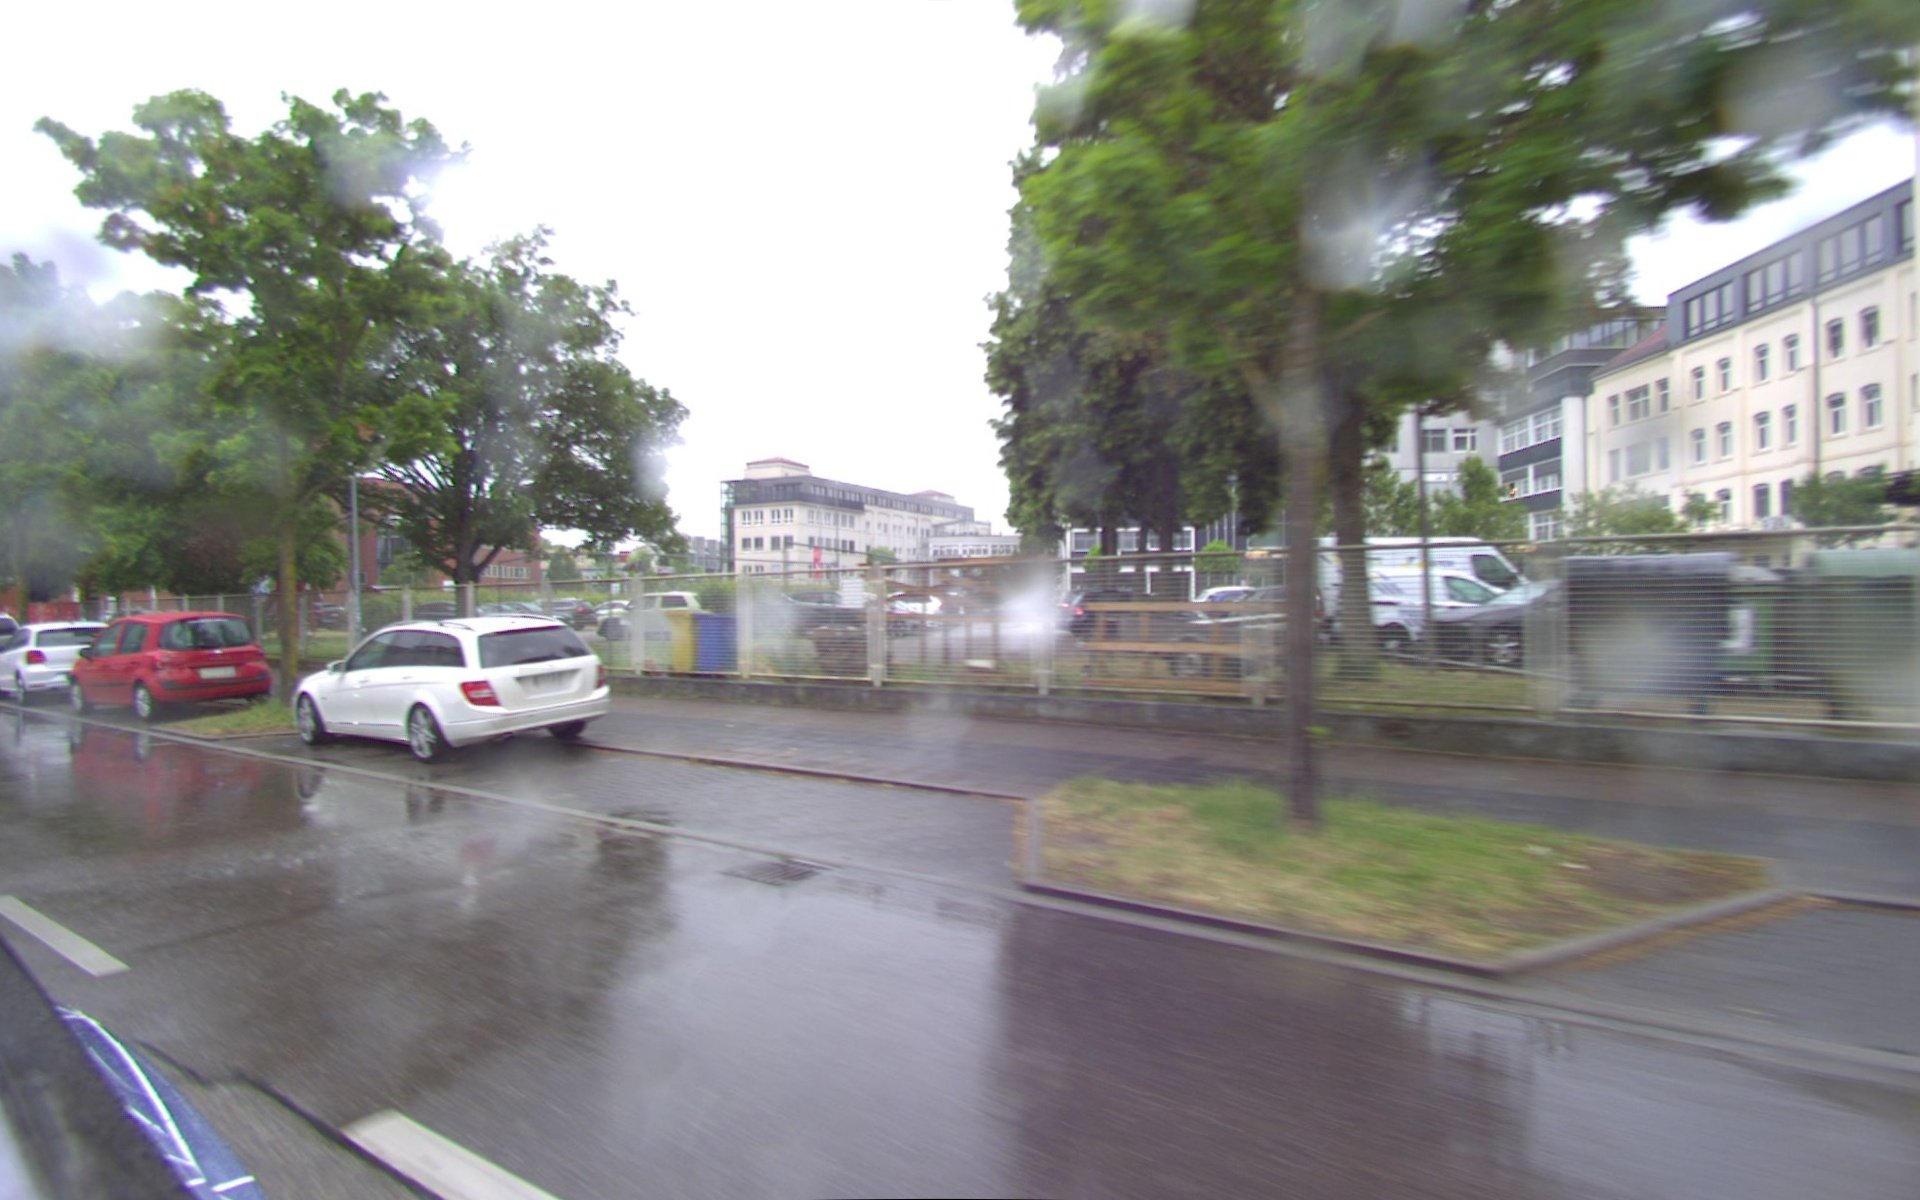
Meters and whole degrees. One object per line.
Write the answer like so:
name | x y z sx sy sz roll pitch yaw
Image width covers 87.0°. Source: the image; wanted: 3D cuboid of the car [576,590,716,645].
car | -10.285 0.568 33.358 3.948 1.683 2.065 -1 0 4

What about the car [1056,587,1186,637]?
car | 5.096 0.369 32.235 3.954 1.506 1.755 -1 0 9

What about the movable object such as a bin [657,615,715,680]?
movable object such as a bin | -4.340 0.741 16.020 0.712 0.993 0.541 -1 0 37

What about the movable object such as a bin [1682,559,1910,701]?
movable object such as a bin | 8.847 0.291 10.838 1.786 1.378 1.205 -1 1 37

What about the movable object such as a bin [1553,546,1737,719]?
movable object such as a bin | 6.112 0.249 9.038 1.260 1.378 1.478 -1 1 36

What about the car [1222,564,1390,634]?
car | 10.995 -0.034 32.467 4.663 2.099 2.146 -1 0 7

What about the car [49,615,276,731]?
car | -12.756 1.071 16.143 3.784 1.610 1.612 -1 1 31

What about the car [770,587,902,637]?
car | -4.019 0.375 33.049 3.954 1.506 1.755 -1 0 9

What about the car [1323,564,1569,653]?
car | 9.710 0.174 20.505 4.097 1.652 1.745 -1 0 7

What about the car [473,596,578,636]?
car | -19.403 0.711 45.317 3.948 1.683 1.769 -1 0 4

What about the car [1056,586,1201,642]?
car | 4.787 0.389 29.017 3.954 1.506 1.755 -1 0 9

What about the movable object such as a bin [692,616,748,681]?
movable object such as a bin | -3.671 0.732 15.485 0.637 0.956 0.533 -1 0 37

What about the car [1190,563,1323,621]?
car | 11.586 -0.300 39.888 4.663 2.133 2.146 -1 0 7

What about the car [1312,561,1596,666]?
car | 8.427 0.224 17.611 3.951 1.652 1.996 -1 0 6

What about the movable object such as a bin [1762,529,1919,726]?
movable object such as a bin | 7.587 0.190 8.037 1.828 1.452 1.545 -1 1 37

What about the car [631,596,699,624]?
car | -19.361 0.652 66.492 3.948 1.683 1.769 -1 0 4

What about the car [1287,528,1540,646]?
car | 9.994 -0.278 22.667 4.663 2.414 2.146 -1 0 7

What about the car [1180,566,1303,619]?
car | 11.831 -0.311 42.808 4.663 2.088 2.146 -1 0 7

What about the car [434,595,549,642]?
car | -19.831 0.764 42.940 3.948 1.896 1.998 -1 0 4

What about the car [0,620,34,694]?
car | -24.167 1.368 24.493 4.030 1.694 1.860 -1 1 37

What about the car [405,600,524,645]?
car | -19.968 0.896 40.888 3.948 1.683 1.769 -1 0 4

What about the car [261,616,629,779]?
car | -5.986 0.952 11.546 4.669 1.471 1.759 -1 1 35

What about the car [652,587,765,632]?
car | -9.963 0.365 40.297 3.948 1.683 2.065 -1 0 4

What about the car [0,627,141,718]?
car | -17.148 1.296 19.202 3.712 1.465 1.674 -1 1 38

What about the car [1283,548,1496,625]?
car | 11.159 -0.340 26.622 4.663 1.836 2.146 -1 0 7
